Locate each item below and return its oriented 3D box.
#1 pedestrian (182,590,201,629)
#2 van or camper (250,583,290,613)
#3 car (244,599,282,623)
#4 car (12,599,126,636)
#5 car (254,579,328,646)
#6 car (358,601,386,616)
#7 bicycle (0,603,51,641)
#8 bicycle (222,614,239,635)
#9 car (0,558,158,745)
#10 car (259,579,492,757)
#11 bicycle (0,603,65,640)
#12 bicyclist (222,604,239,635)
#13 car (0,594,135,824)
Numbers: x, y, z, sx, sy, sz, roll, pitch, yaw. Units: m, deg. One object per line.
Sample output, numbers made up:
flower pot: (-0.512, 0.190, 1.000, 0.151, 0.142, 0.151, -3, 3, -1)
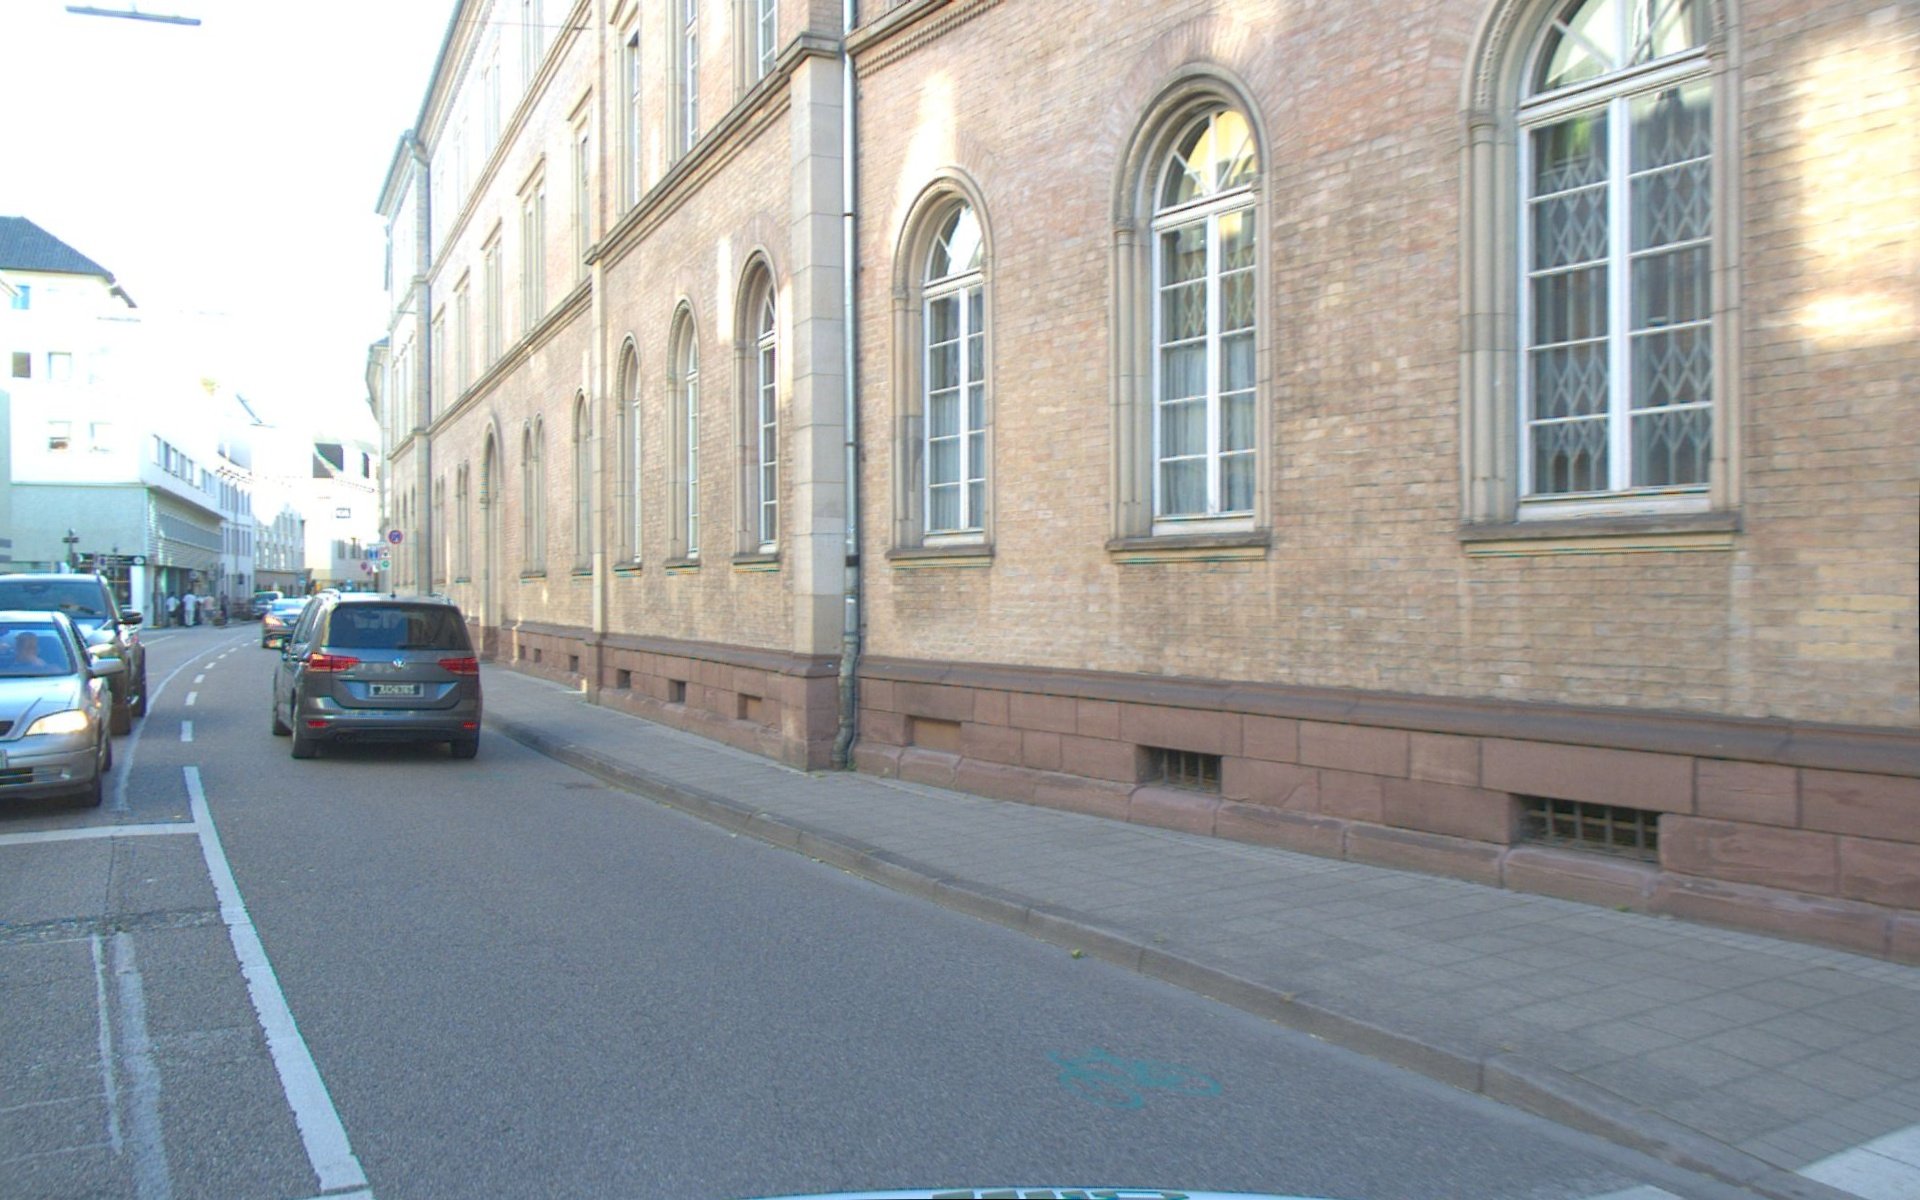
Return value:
pedestrian: (-36.522, 0.452, 78.586, 0.544, 1.861, 0.731, 0, 0, 2)
van or camper: (-46.989, -0.145, 112.729, 1.961, 2.049, 4.464, 0, 0, -15)
car: (-45.708, 0.698, 108.503, 1.835, 1.494, 3.816, 0, 0, -16)
car: (-38.090, 0.739, 70.806, 4.038, 1.468, 1.936, -1, 1, -20)
car: (-19.892, 0.342, 49.149, 1.966, 1.914, 3.972, 0, 0, -23)
car: (-56.809, 0.821, 159.915, 1.701, 1.493, 3.993, 0, 0, -7)
bicycle: (-31.302, 0.730, 54.849, 1.915, 1.200, 0.605, 3, -2, -38)
bicycle: (-38.603, 1.287, 87.491, 0.820, 1.073, 2.530, 0, 0, -24)
car: (-10.511, 0.521, 19.295, 1.875, 1.867, 5.055, -2, 1, -24)
car: (-6.252, 0.659, 17.419, 1.741, 1.635, 3.964, 3, -1, -27)
bicycle: (-31.580, 0.730, 56.312, 1.909, 1.200, 0.607, 3, -2, -31)
bicyclist: (-38.627, 1.029, 87.584, 0.820, 1.589, 0.754, 0, 0, -25)
car: (-7.504, 0.743, 12.846, 1.718, 1.512, 4.106, -2, 1, -24)
